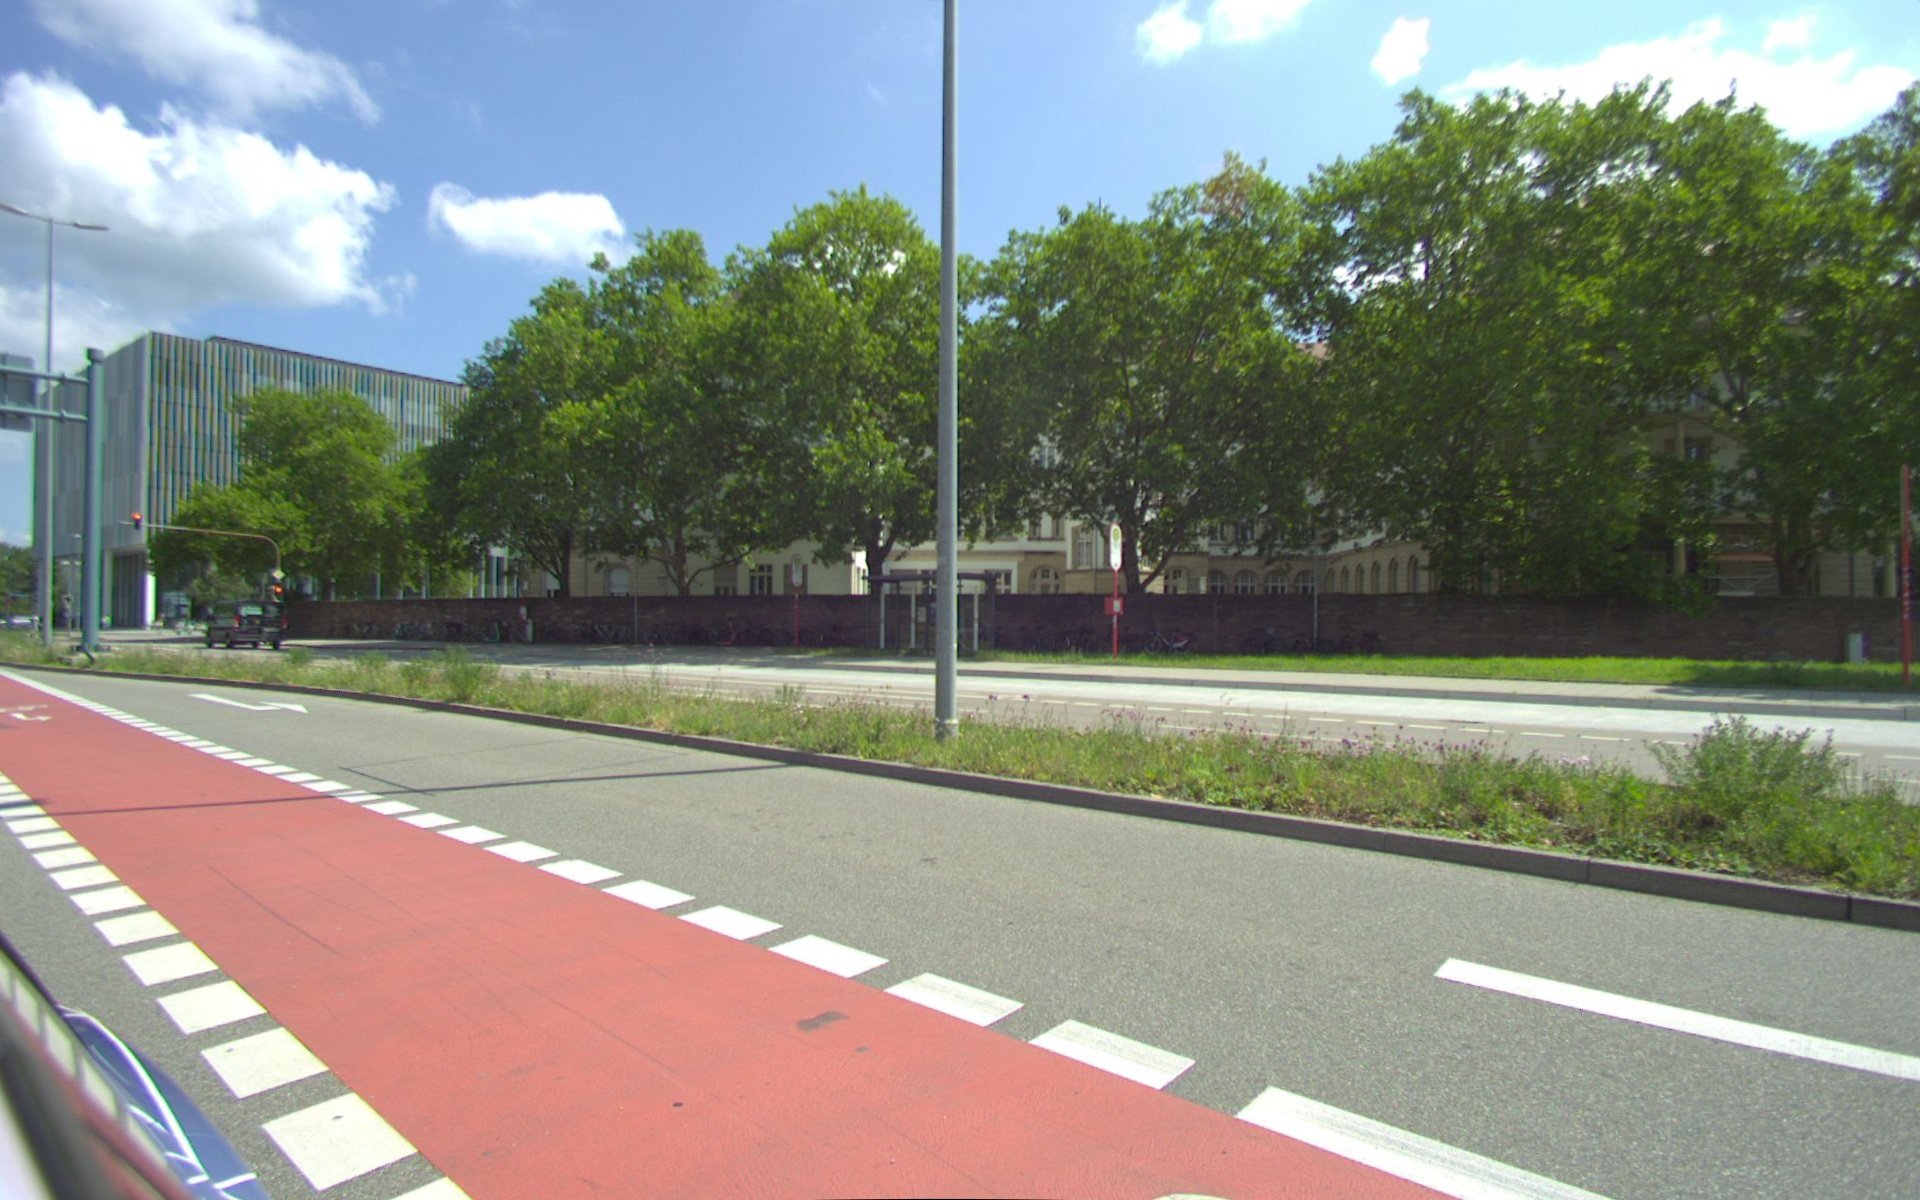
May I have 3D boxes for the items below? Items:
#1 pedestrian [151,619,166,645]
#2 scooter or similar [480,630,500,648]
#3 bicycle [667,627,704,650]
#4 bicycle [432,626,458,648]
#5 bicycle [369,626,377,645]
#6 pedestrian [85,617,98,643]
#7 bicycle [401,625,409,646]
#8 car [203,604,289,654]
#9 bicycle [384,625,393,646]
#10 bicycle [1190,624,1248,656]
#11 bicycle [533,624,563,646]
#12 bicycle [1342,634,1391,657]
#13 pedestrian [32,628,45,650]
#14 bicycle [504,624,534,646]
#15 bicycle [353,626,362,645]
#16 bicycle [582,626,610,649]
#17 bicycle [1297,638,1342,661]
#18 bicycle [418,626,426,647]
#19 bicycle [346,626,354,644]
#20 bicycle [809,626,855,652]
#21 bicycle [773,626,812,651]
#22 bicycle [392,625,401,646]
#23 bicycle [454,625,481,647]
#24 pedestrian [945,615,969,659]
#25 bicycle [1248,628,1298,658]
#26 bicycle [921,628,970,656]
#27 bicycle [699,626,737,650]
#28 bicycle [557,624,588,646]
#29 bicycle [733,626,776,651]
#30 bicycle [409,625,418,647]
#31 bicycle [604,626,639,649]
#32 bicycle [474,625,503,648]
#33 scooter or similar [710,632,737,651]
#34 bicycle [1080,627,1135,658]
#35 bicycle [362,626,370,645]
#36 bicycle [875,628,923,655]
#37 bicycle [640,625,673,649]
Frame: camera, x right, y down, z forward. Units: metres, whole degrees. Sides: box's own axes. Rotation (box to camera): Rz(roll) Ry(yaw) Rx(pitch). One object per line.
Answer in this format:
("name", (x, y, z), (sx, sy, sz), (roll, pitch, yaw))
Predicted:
("pedestrian", (-61.202, 2.421, 77.266), (0.806, 1.931, 0.707), (0, 0, 35))
("scooter or similar", (-23.231, 1.915, 50.006), (1.064, 0.850, 0.350), (-1, -2, 28))
("bicycle", (-12.161, 1.690, 44.864), (1.752, 1.011, 0.394), (0, -1, 27))
("bicycle", (-27.027, 1.933, 53.128), (1.664, 1.116, 0.378), (-1, -2, 32))
("bicycle", (-32.851, 1.999, 56.646), (0.324, 1.025, 1.675), (1, -1, -28))
("pedestrian", (-66.191, 2.251, 77.098), (0.717, 1.932, 0.624), (0, 0, 37))
("bicycle", (-30.058, 1.932, 54.794), (0.376, 1.116, 1.675), (1, -1, -28))
("car", (-32.655, 1.339, 46.250), (4.518, 2.188, 2.185), (-1, -3, 42))
("bicycle", (-31.243, 1.936, 55.328), (0.376, 1.116, 1.675), (1, -1, -28))
("bicycle", (9.420, 1.436, 36.771), (2.021, 1.146, 0.396), (0, -1, 17))
("bicycle", (-19.930, 1.693, 48.907), (1.663, 1.051, 0.379), (-1, -2, 29))
("bicycle", (14.251, 1.588, 35.481), (1.529, 0.795, 0.396), (0, -1, 14))
("pedestrian", (-85.444, 3.613, 93.859), (0.806, 1.931, 0.707), (0, 0, 35))
("bicycle", (-21.686, 1.721, 49.746), (1.663, 1.051, 0.379), (-1, -2, 29))
("bicycle", (-34.250, 2.013, 57.530), (0.324, 1.025, 1.675), (1, -1, -28))
("bicycle", (-17.016, 1.750, 47.300), (1.409, 1.051, 0.374), (0, -1, 27))
("bicycle", (12.729, 1.755, 35.853), (1.452, 0.795, 0.396), (0, -1, 14))
("bicycle", (-28.677, 1.926, 53.927), (0.376, 1.116, 1.675), (1, -1, -28))
("bicycle", (-34.890, 2.007, 57.903), (0.324, 1.025, 1.675), (1, -1, -28))
("bicycle", (-5.285, 1.615, 41.831), (1.944, 1.051, 0.395), (0, -1, 22))
("bicycle", (-7.041, 1.613, 42.538), (1.628, 1.051, 0.395), (0, -1, 22))
("bicycle", (-30.746, 1.934, 55.242), (0.376, 1.116, 1.675), (1, -1, -28))
("bicycle", (-25.327, 1.858, 52.026), (1.663, 1.116, 0.379), (-1, -2, 30))
("pedestrian", (-0.105, 1.391, 38.273), (0.773, 1.623, 0.720), (0, -1, 11))
("bicycle", (11.183, 1.532, 36.218), (1.671, 1.038, 0.396), (0, -1, 14))
("bicycle", (-0.575, 1.641, 39.785), (1.944, 1.051, 0.395), (0, -1, 22))
("bicycle", (-10.534, 1.642, 44.062), (1.751, 1.051, 0.394), (0, -1, 25))
("bicycle", (-18.405, 1.655, 48.031), (1.663, 1.051, 0.379), (-1, -2, 29))
("bicycle", (-8.772, 1.621, 43.244), (1.946, 1.051, 0.395), (0, -1, 24))
("bicycle", (-29.338, 1.928, 54.313), (0.376, 1.116, 1.675), (1, -1, -28))
("bicycle", (-15.570, 1.721, 46.567), (1.752, 1.051, 0.394), (0, -1, 27))
("bicycle", (-23.855, 1.838, 51.184), (1.663, 1.116, 0.379), (-1, -2, 29))
("scooter or similar", (-10.079, 1.751, 43.143), (1.060, 0.800, 0.351), (0, -1, 16))
("bicycle", (5.517, 1.590, 37.887), (2.021, 1.146, 0.396), (0, -1, 17))
("bicycle", (-33.461, 2.003, 57.028), (0.324, 1.025, 1.675), (1, -1, -28))
("bicycle", (-2.437, 1.652, 40.576), (1.944, 1.051, 0.395), (0, -1, 22))
("bicycle", (-13.705, 1.659, 45.643), (1.575, 1.051, 0.394), (0, -1, 27))
